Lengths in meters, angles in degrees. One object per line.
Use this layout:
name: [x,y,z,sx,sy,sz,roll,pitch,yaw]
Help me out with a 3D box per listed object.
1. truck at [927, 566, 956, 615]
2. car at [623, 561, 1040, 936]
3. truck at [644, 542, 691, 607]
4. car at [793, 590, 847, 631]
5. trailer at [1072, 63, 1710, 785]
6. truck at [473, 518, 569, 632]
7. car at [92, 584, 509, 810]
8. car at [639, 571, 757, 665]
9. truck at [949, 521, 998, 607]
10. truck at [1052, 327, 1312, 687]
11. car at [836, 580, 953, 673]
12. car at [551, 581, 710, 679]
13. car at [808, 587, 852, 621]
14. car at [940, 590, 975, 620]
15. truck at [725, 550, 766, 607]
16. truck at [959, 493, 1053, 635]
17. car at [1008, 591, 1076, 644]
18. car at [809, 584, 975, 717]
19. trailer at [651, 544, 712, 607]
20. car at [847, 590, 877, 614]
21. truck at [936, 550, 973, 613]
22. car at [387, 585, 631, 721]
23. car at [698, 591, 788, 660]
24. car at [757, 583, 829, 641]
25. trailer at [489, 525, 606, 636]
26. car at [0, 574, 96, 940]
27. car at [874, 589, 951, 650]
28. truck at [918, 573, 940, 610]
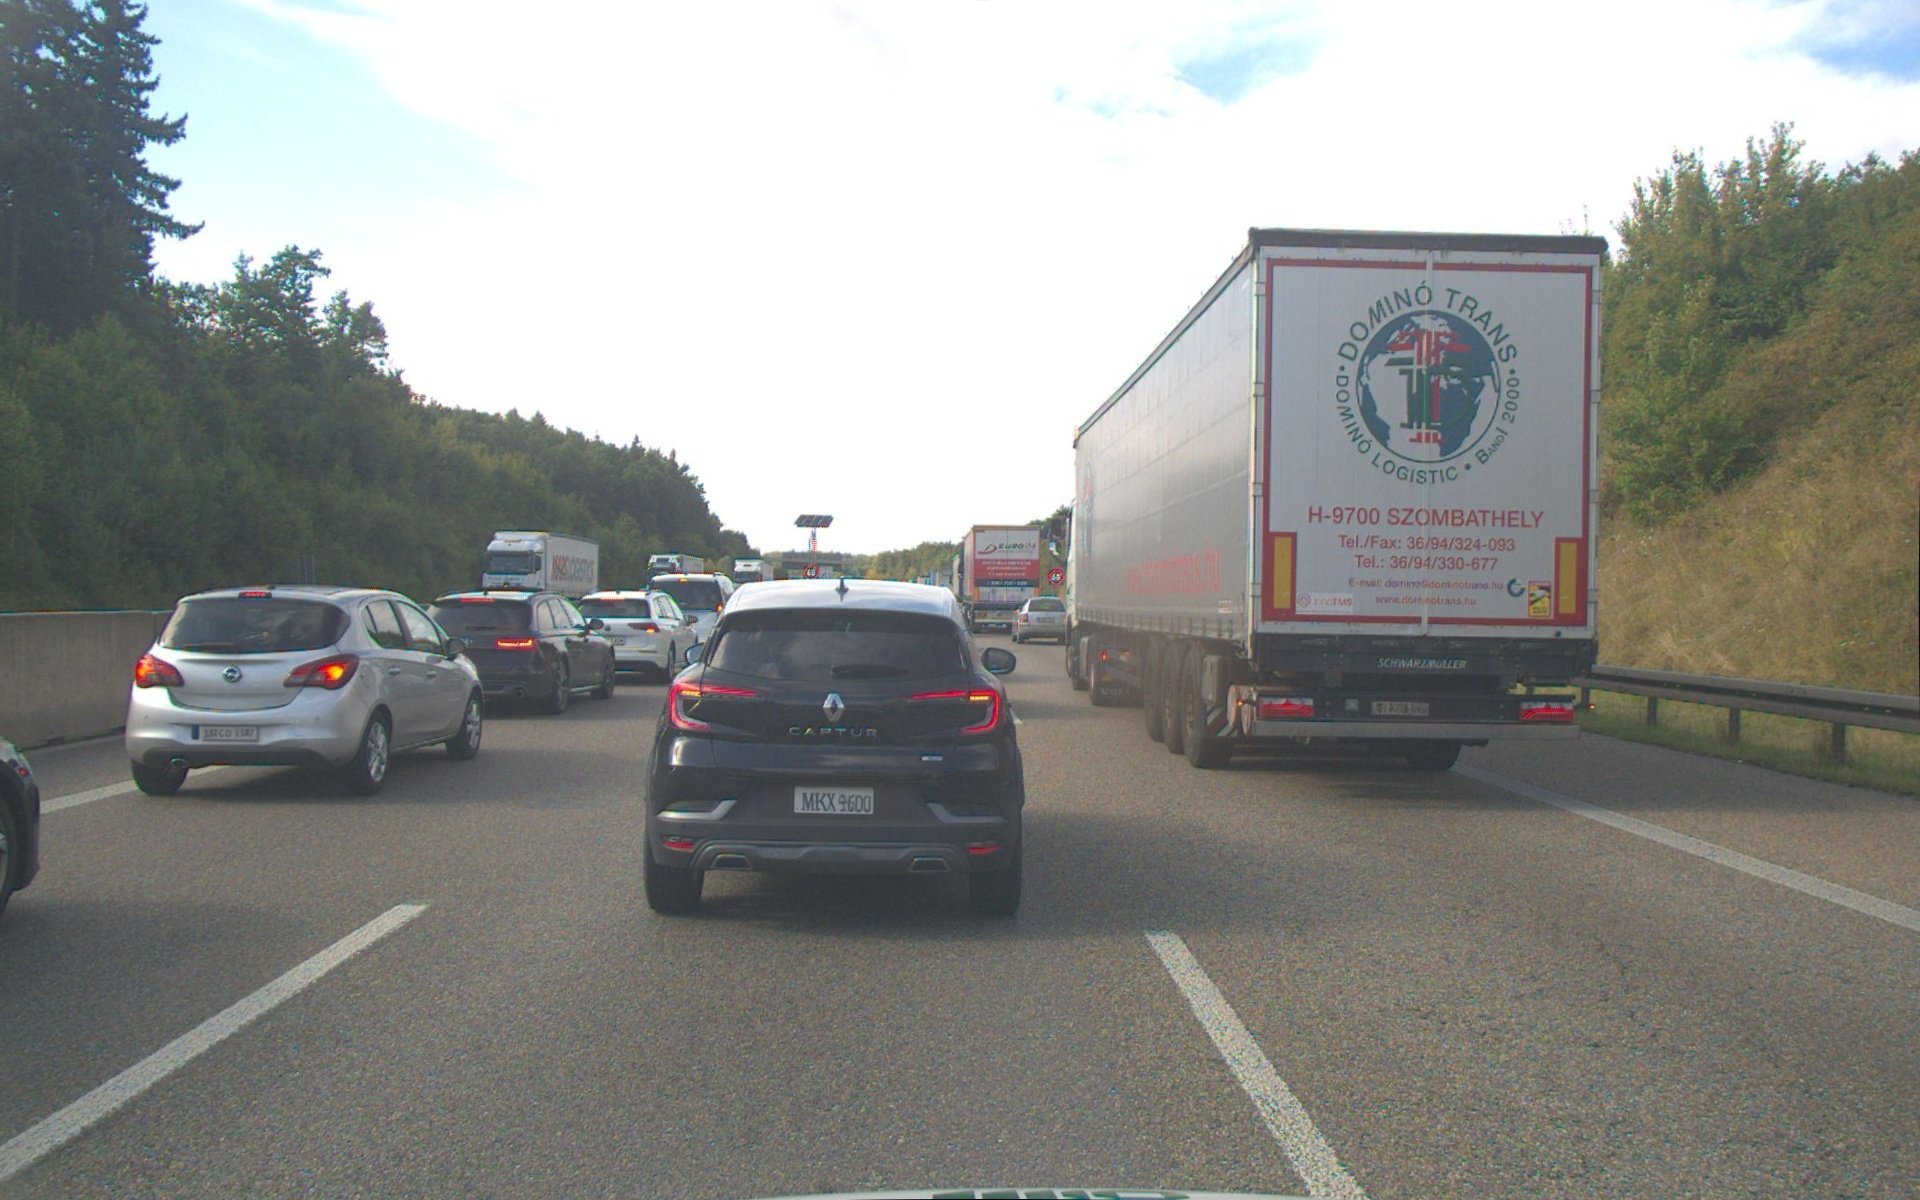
truck: [-2.086,-0.998,188.083,3.102,5.250,12.735,1,0,0]
car: [-0.508,0.631,9.051,1.767,1.579,4.000,0,0,1]
truck: [-22.721,-1.950,128.667,2.872,4.943,4.764,1,0,-2]
car: [-5.789,0.439,68.768,1.953,1.641,3.999,1,0,-1]
trailer: [3.324,-1.195,17.628,2.941,4.742,13.286,1,0,-2]
truck: [-21.611,-1.180,81.864,2.978,5.344,6.881,1,0,-2]
car: [-4.895,0.622,12.925,1.711,1.491,4.040,0,0,-1]
car: [-5.415,0.367,34.700,1.873,1.821,4.415,1,0,-2]
truck: [0.840,-2.337,115.703,3.102,5.601,12.735,1,0,0]
truck: [3.125,-1.244,24.956,2.936,4.749,5.937,1,0,-2]
car: [-1.131,0.457,30.028,1.953,1.540,3.999,1,0,-1]
car: [-5.397,0.466,27.589,1.768,1.486,4.308,1,0,0]
car: [-6.485,0.170,82.899,1.953,1.641,3.999,1,0,-1]
car: [-0.161,0.270,94.338,1.953,1.641,3.999,1,0,-1]
truck: [-19.935,-1.947,153.944,3.026,5.190,7.139,1,0,-2]
truck: [1.674,-1.285,66.735,3.296,5.132,12.735,1,0,0]
car: [2.543,0.540,52.025,1.768,1.559,3.924,1,0,-2]
car: [-0.833,0.611,21.710,1.953,1.540,3.999,1,0,-1]
trailer: [-22.938,-1.908,136.989,2.868,4.914,14.649,1,0,-2]
car: [-6.992,0.133,118.082,1.953,1.641,3.999,1,0,-1]
truck: [-0.435,-1.612,153.670,3.101,5.601,12.738,1,0,1]
car: [-5.508,0.581,20.856,1.805,1.481,4.747,1,0,-1]
car: [-5.583,0.639,43.004,1.818,1.669,3.925,1,0,0]
car: [-5.327,0.374,53.197,1.953,1.752,3.999,1,0,-1]
trailer: [-21.768,-0.922,88.265,2.980,5.373,13.830,1,0,-2]
car: [-4.831,0.635,5.035,1.844,1.497,4.851,1,0,0]
car: [-1.253,0.525,44.834,1.953,1.540,3.999,1,0,-1]
truck: [-4.797,-1.271,258.370,3.102,5.601,12.735,1,0,0]
